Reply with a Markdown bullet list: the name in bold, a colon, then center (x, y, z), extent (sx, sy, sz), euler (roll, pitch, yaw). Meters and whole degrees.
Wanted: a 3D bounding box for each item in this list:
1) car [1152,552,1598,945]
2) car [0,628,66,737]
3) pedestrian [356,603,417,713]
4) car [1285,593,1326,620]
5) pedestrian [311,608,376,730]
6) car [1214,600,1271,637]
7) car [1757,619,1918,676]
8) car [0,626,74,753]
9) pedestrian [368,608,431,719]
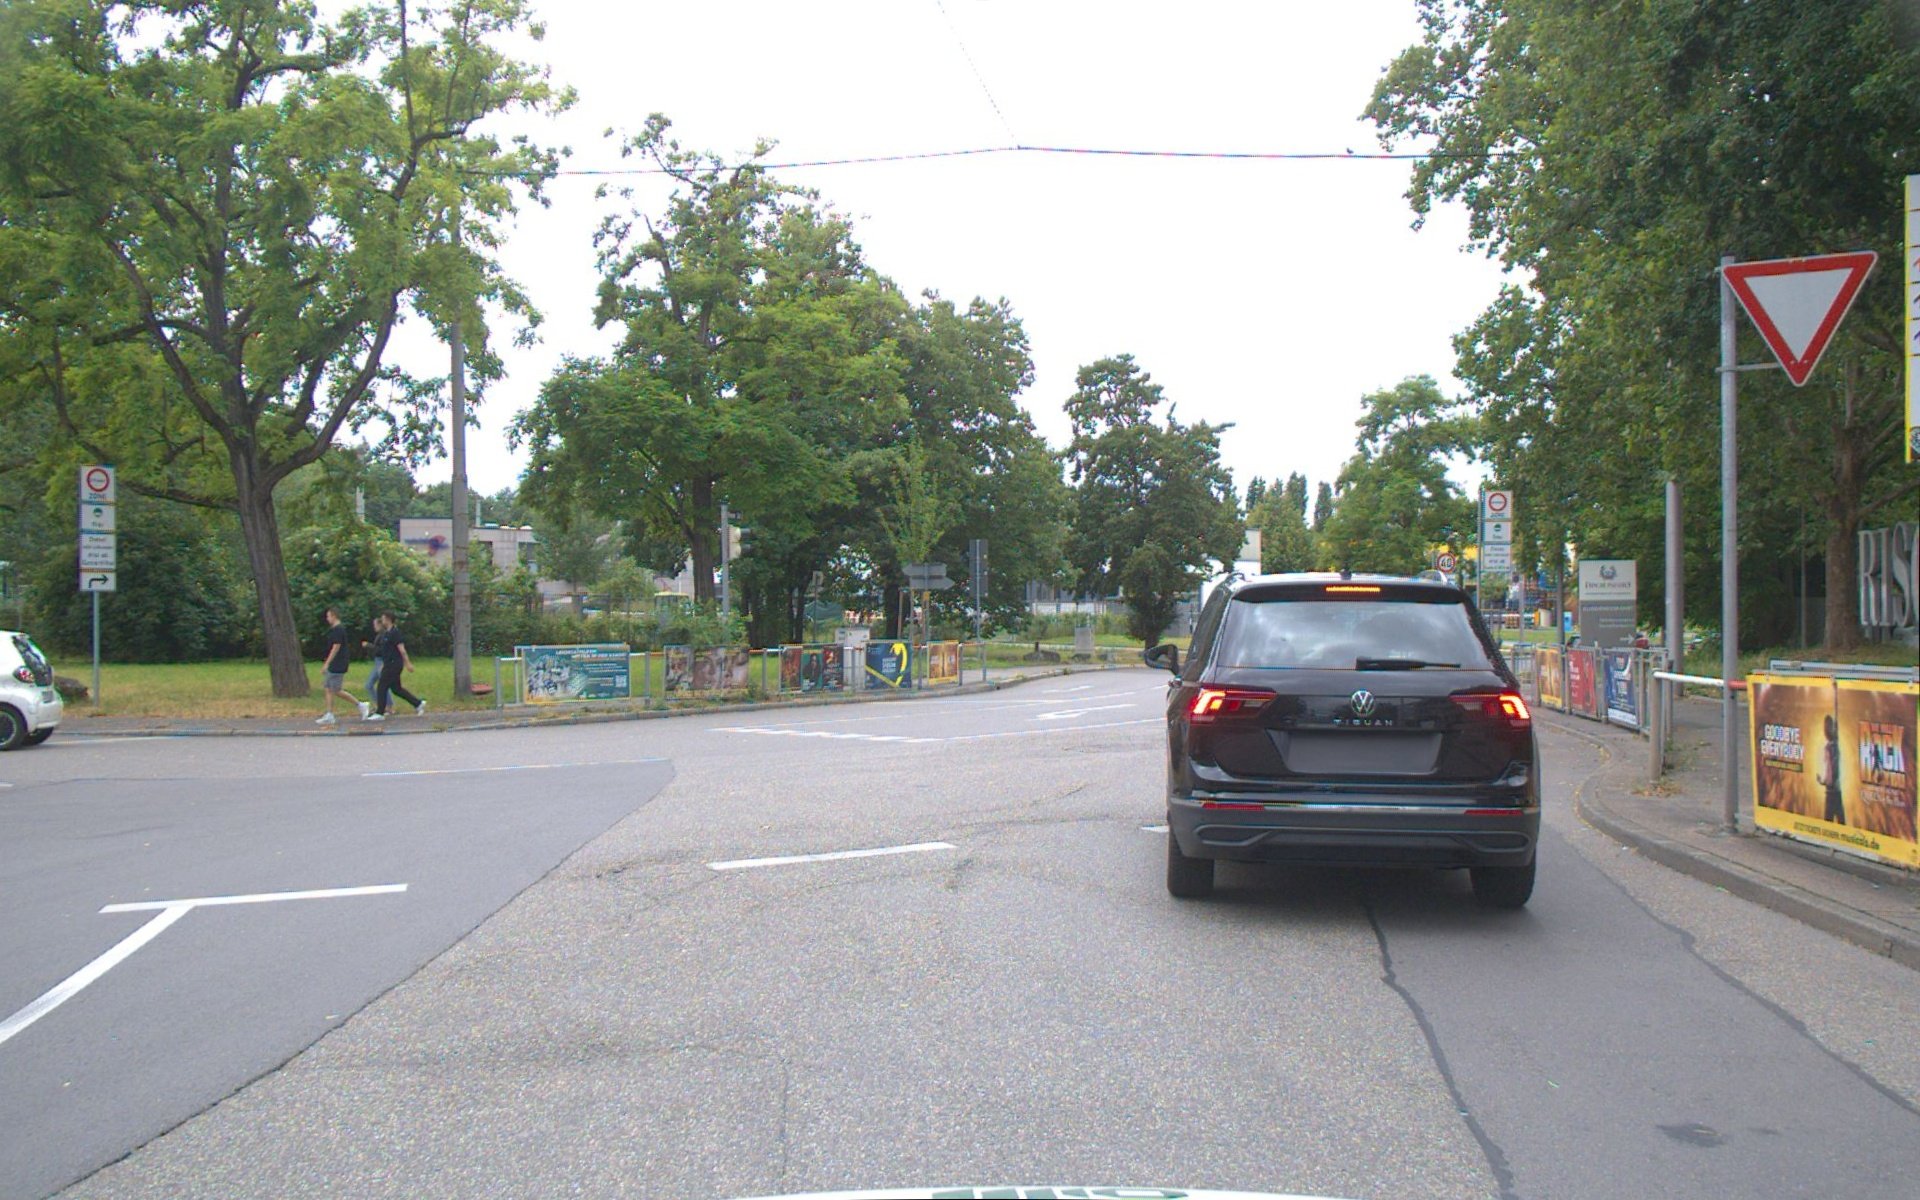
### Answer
- **car**: center (2.030, 0.628, 9.246), extent (1.805, 1.664, 4.188), euler (1, 0, 6)
- **car**: center (-14.606, 1.144, 23.101), extent (3.347, 1.482, 1.645), euler (-1, -1, 4)
- **pedestrian**: center (-9.439, 0.940, 27.260), extent (0.770, 1.770, 0.695), euler (-1, 0, -3)
- **car**: center (26.172, 0.502, 125.163), extent (1.927, 2.049, 4.212), euler (0, 0, 29)
- **pedestrian**: center (-9.693, 1.070, 26.036), extent (0.770, 1.890, 0.695), euler (-1, 0, -3)
- **car**: center (16.288, 1.032, 95.248), extent (1.927, 2.049, 4.212), euler (0, 0, 29)
- **car**: center (24.139, 1.302, 45.586), extent (3.638, 1.531, 1.482), euler (0, 0, 10)
- **car**: center (-12.694, 1.080, 19.805), extent (3.364, 1.457, 1.637), euler (-1, 0, -17)
- **pedestrian**: center (-9.000, 1.009, 26.585), extent (0.770, 1.744, 0.695), euler (-1, 0, -3)
